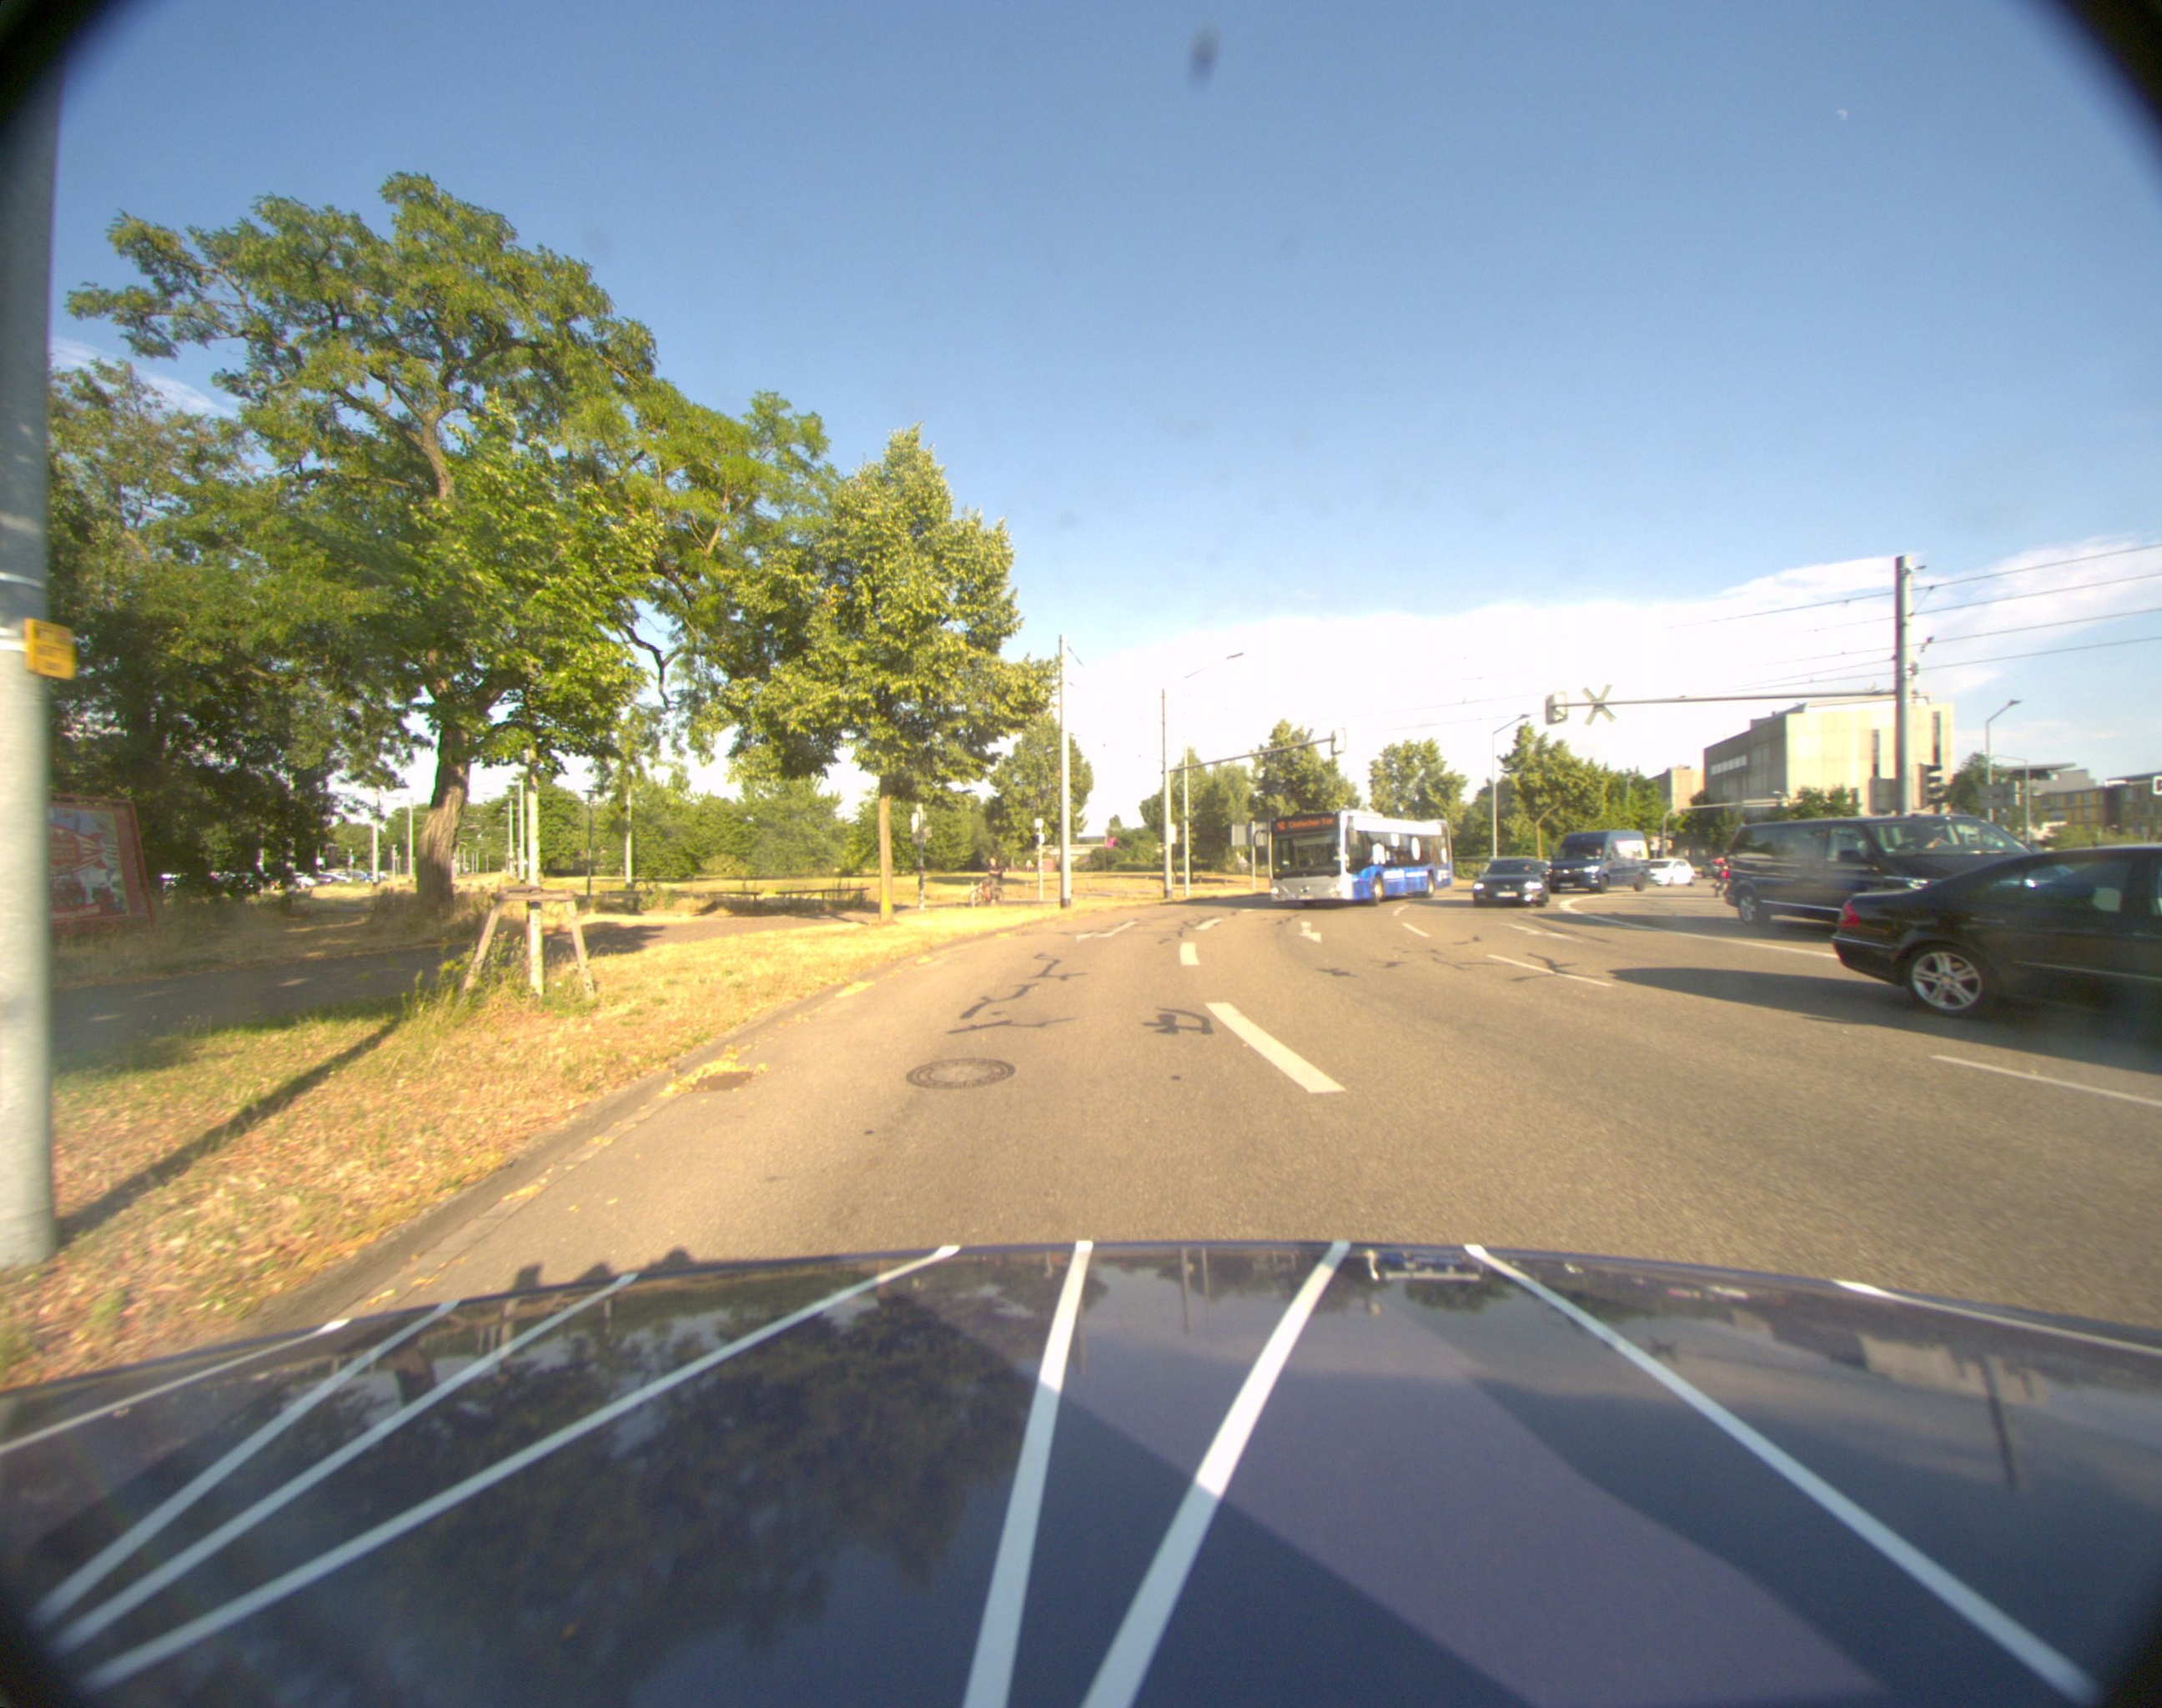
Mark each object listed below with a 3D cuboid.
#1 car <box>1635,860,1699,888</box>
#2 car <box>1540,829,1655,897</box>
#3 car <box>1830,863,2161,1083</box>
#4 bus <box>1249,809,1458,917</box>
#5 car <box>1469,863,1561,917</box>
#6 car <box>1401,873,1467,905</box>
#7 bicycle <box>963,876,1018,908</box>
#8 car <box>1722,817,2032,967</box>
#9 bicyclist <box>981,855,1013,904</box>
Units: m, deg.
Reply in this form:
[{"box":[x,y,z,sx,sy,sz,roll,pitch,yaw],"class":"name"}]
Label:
[{"box":[33.535,1.100,43.442,4.007,1.508,1.678,0,0,-34],"class":"car"},{"box":[21.371,0.414,31.353,5.496,2.578,1.995,1,-2,-35],"class":"car"},{"box":[8.093,0.809,4.908,1.842,1.398,4.700,-1,0,-1],"class":"car"},{"box":[10.162,0.258,26.923,2.659,3.044,12.205,-1,0,41],"class":"bus"},{"box":[13.019,0.995,22.658,1.806,1.428,4.396,-1,-1,37],"class":"car"},{"box":[18.746,1.829,40.293,1.994,1.514,4.009,0,0,43],"class":"car"},{"box":[-3.347,1.395,28.291,0.639,1.116,2.130,0,0,40],"class":"bicycle"},{"box":[13.161,0.530,13.110,2.089,2.035,5.254,-1,0,27],"class":"car"},{"box":[-3.154,0.933,28.529,0.726,1.790,0.940,0,0,40],"class":"bicyclist"}]
